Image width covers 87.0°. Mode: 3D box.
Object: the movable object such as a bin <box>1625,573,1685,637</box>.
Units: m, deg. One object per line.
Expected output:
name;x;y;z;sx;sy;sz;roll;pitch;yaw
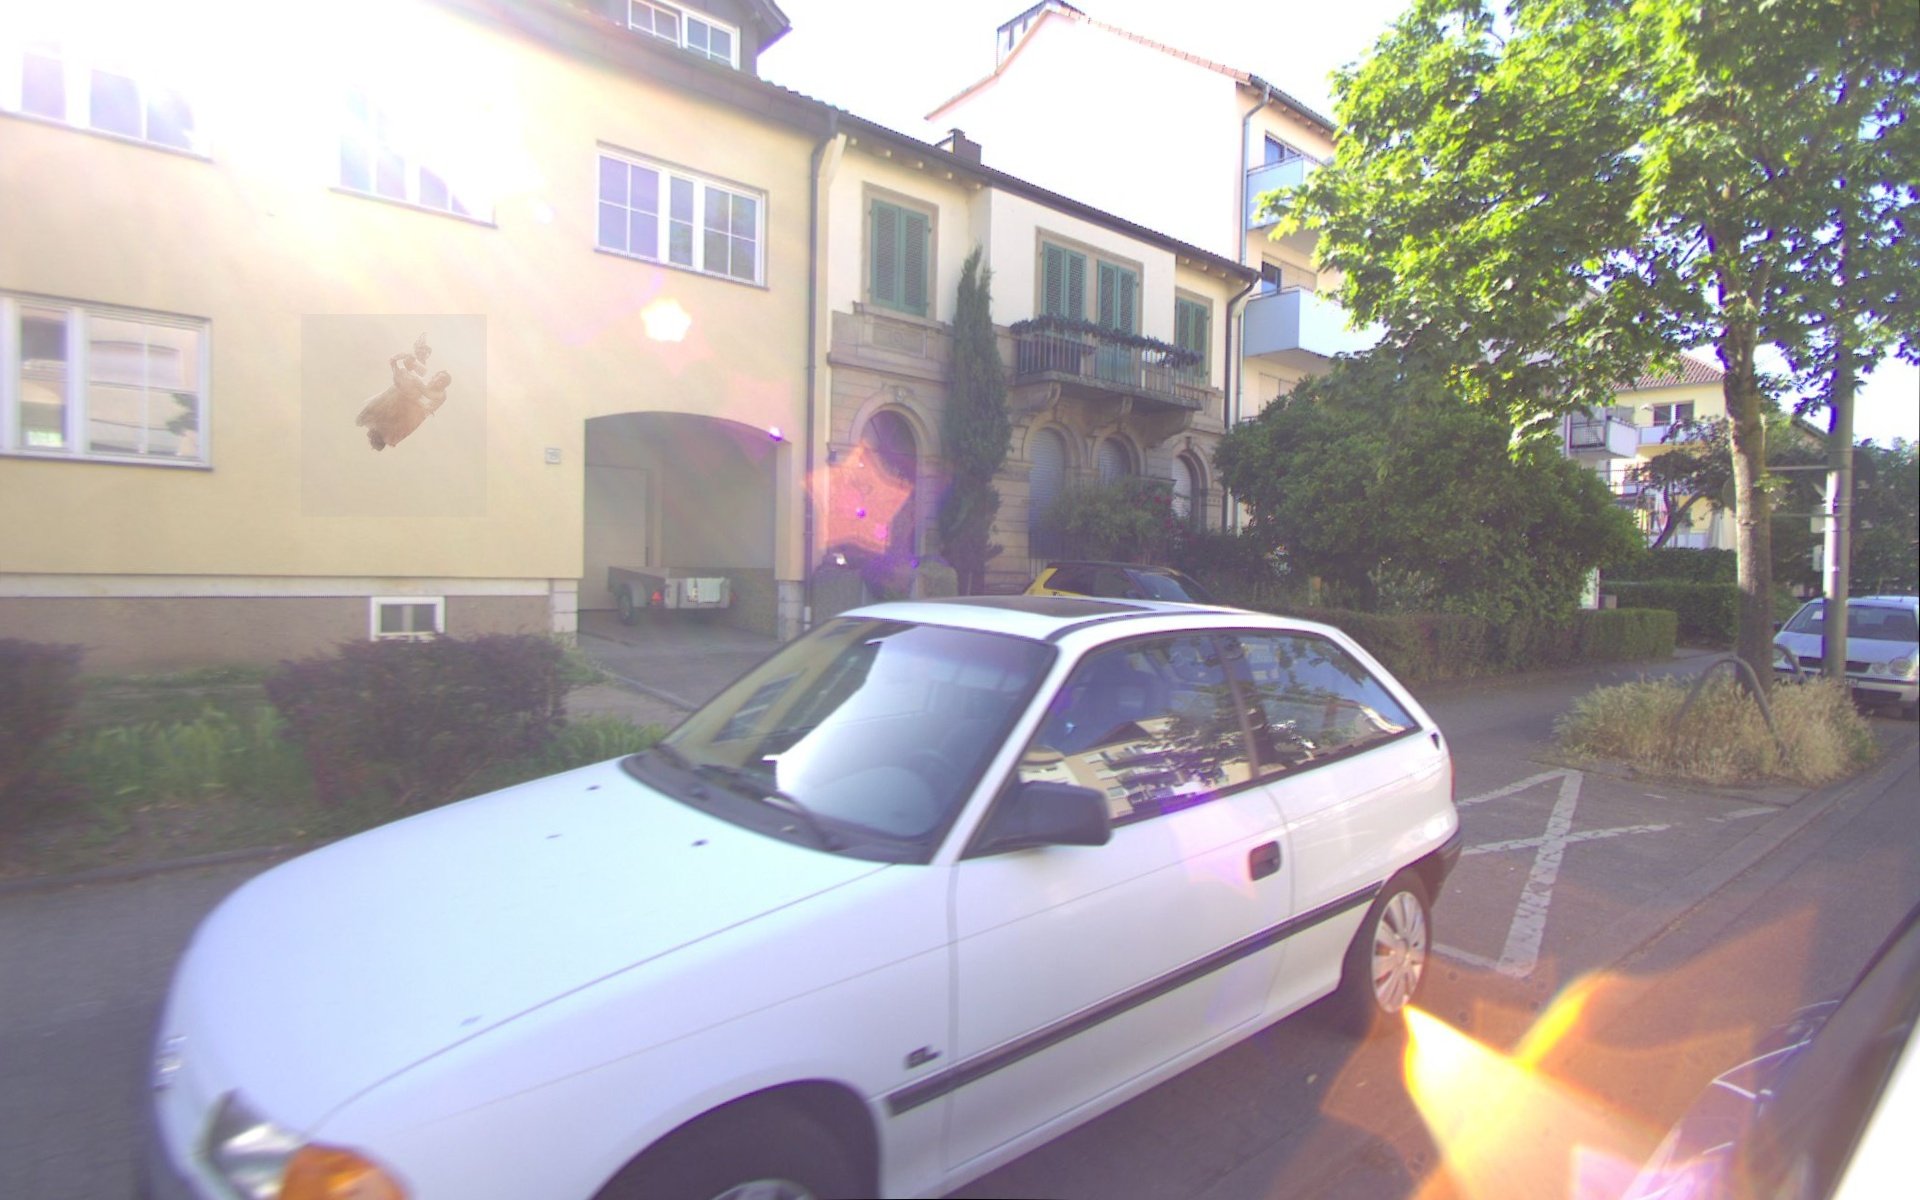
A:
movable object such as a bin;17.256;0.104;25.126;1.086;1.491;0.831;4;3;40

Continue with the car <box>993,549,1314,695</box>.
car;2.472;0.171;13.750;1.799;1.458;3.998;0;5;-40

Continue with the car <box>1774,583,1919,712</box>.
car;12.434;0.547;13.705;3.799;1.474;1.570;-1;3;-42

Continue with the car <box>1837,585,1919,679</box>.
car;17.427;0.535;18.293;4.122;1.500;1.743;0;3;-41

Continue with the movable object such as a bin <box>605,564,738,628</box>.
movable object such as a bin;-4.749;-0.084;16.624;1.464;0.905;1.779;0;4;-43

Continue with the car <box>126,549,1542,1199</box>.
car;0.042;0.645;3.021;3.899;1.420;1.653;0;4;-40
